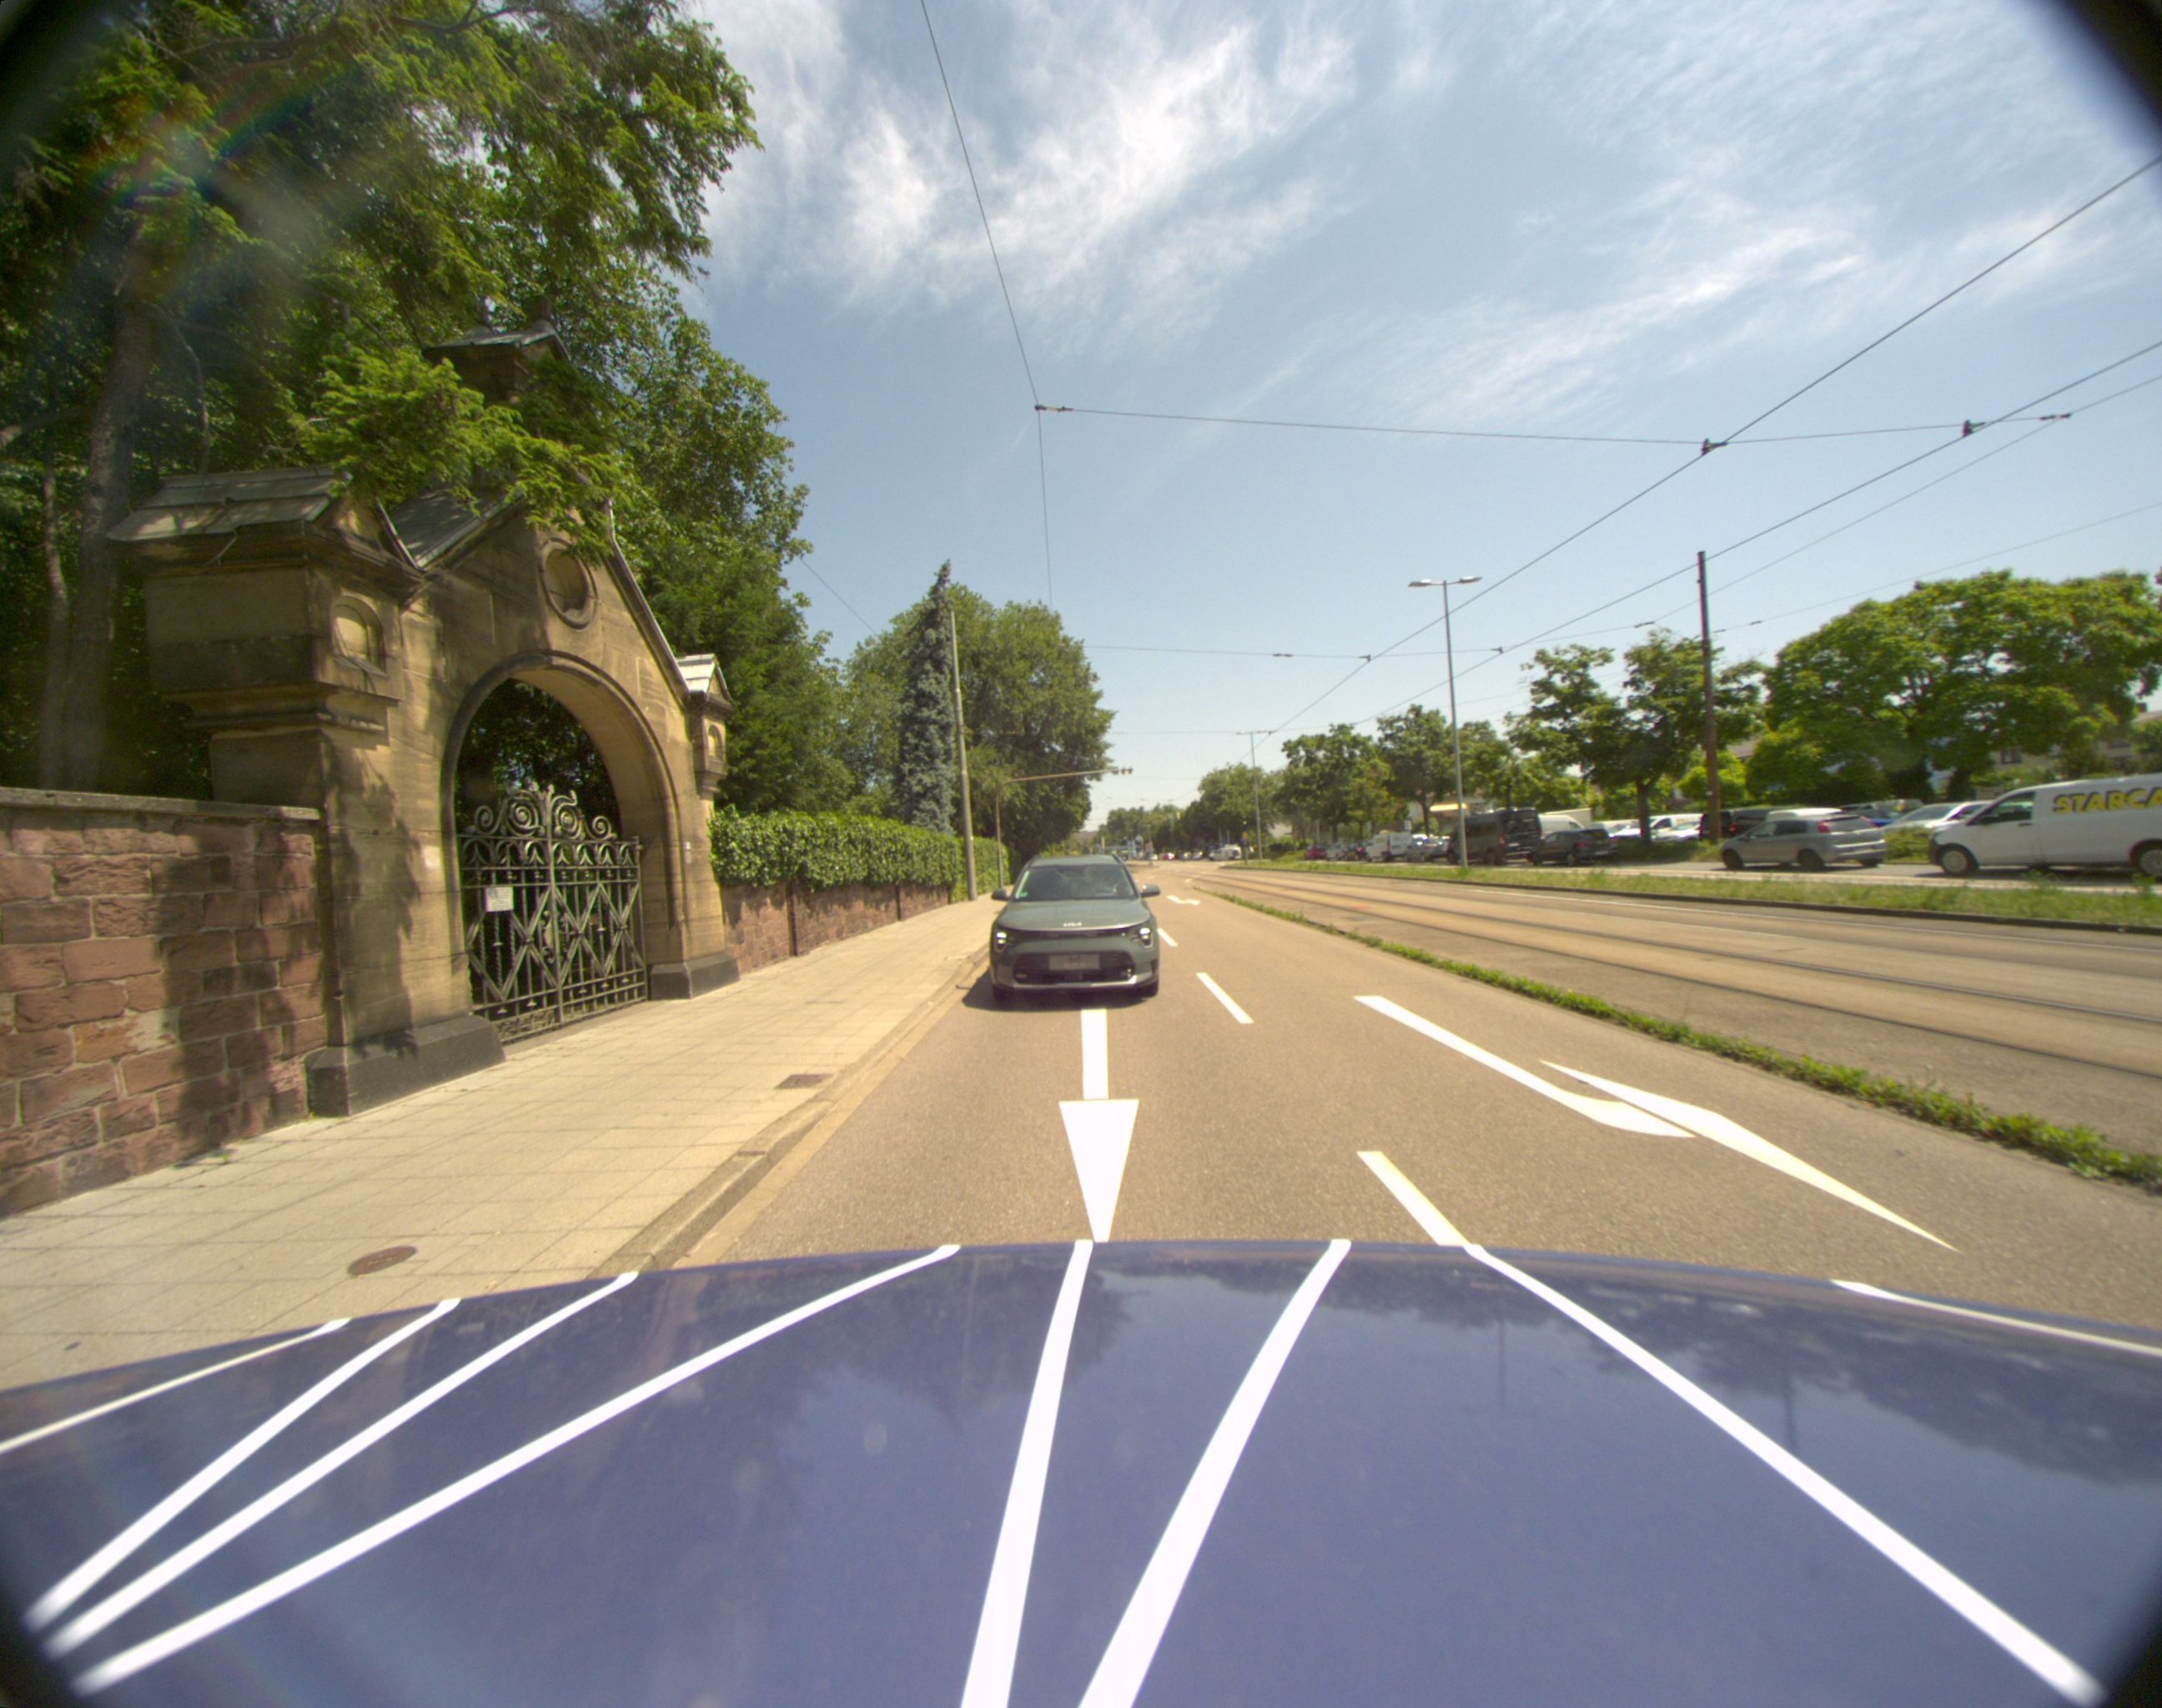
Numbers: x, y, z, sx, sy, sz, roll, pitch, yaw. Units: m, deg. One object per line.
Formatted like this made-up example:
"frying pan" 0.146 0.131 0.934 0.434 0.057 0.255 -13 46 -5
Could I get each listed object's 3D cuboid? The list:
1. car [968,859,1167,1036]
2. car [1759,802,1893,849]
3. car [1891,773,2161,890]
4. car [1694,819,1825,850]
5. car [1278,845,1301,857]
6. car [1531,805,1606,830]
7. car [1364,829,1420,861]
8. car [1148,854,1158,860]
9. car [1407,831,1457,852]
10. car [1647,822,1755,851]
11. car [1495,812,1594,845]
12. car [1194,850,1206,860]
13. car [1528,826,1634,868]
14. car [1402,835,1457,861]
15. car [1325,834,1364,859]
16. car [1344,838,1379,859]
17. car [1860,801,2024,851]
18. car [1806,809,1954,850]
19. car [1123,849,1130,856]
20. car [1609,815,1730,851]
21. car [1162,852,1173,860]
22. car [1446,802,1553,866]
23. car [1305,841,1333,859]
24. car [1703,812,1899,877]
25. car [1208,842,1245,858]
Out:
"car" -0.116 0.907 9.415 1.824 1.577 4.287 -3 0 0
"car" 31.804 -1.192 32.509 3.998 1.708 1.797 -3 0 -3
"car" 20.032 -0.477 15.207 1.880 1.999 5.344 -6 0 2
"car" 31.211 -0.876 35.026 4.260 1.137 2.033 -3 0 -3
"car" 22.009 -0.288 80.253 1.581 1.152 3.423 -2 1 3
"car" 45.845 -3.382 71.523 5.744 2.051 2.147 -2 1 -1
"car" 20.951 -0.612 51.439 1.924 1.937 4.817 -2 1 3
"car" 15.962 0.681 168.667 1.781 1.310 3.753 -2 1 -1
"car" 33.770 -1.205 73.177 3.998 1.863 1.715 -2 1 -5
"car" 30.893 -0.856 37.902 3.998 1.137 1.735 -3 0 -3
"car" 31.450 -1.707 51.688 5.434 1.945 2.029 -2 1 3
"car" 22.718 0.215 145.265 1.703 1.842 3.983 -2 1 3
"car" 20.492 -0.309 31.351 1.975 1.568 3.752 -2 1 2
"car" 20.916 -0.376 45.713 1.767 1.456 3.608 -2 1 3
"car" 21.336 -0.605 61.706 1.635 1.882 4.496 -2 1 1
"car" 21.031 -0.391 56.980 1.429 1.470 3.262 -2 1 1
"car" 30.641 -0.986 27.104 3.999 1.479 1.866 -3 0 -6
"car" 31.328 -0.937 29.860 3.998 1.398 1.797 -2 0 -3
"car" 13.660 -0.403 229.921 1.781 1.907 3.754 -2 1 -1
"car" 31.503 -1.111 40.793 4.926 1.568 2.000 -3 0 -1
"car" 17.300 0.349 152.192 1.820 1.471 3.423 -2 1 3
"car" 20.476 -0.956 37.535 2.243 2.822 5.667 -2 1 2
"car" 21.351 -0.397 68.207 1.581 1.471 3.423 -2 1 3
"car" 20.221 -0.271 21.620 1.653 1.494 4.126 -6 0 2
"car" 18.510 -0.497 96.716 4.202 1.979 1.825 -2 1 34
